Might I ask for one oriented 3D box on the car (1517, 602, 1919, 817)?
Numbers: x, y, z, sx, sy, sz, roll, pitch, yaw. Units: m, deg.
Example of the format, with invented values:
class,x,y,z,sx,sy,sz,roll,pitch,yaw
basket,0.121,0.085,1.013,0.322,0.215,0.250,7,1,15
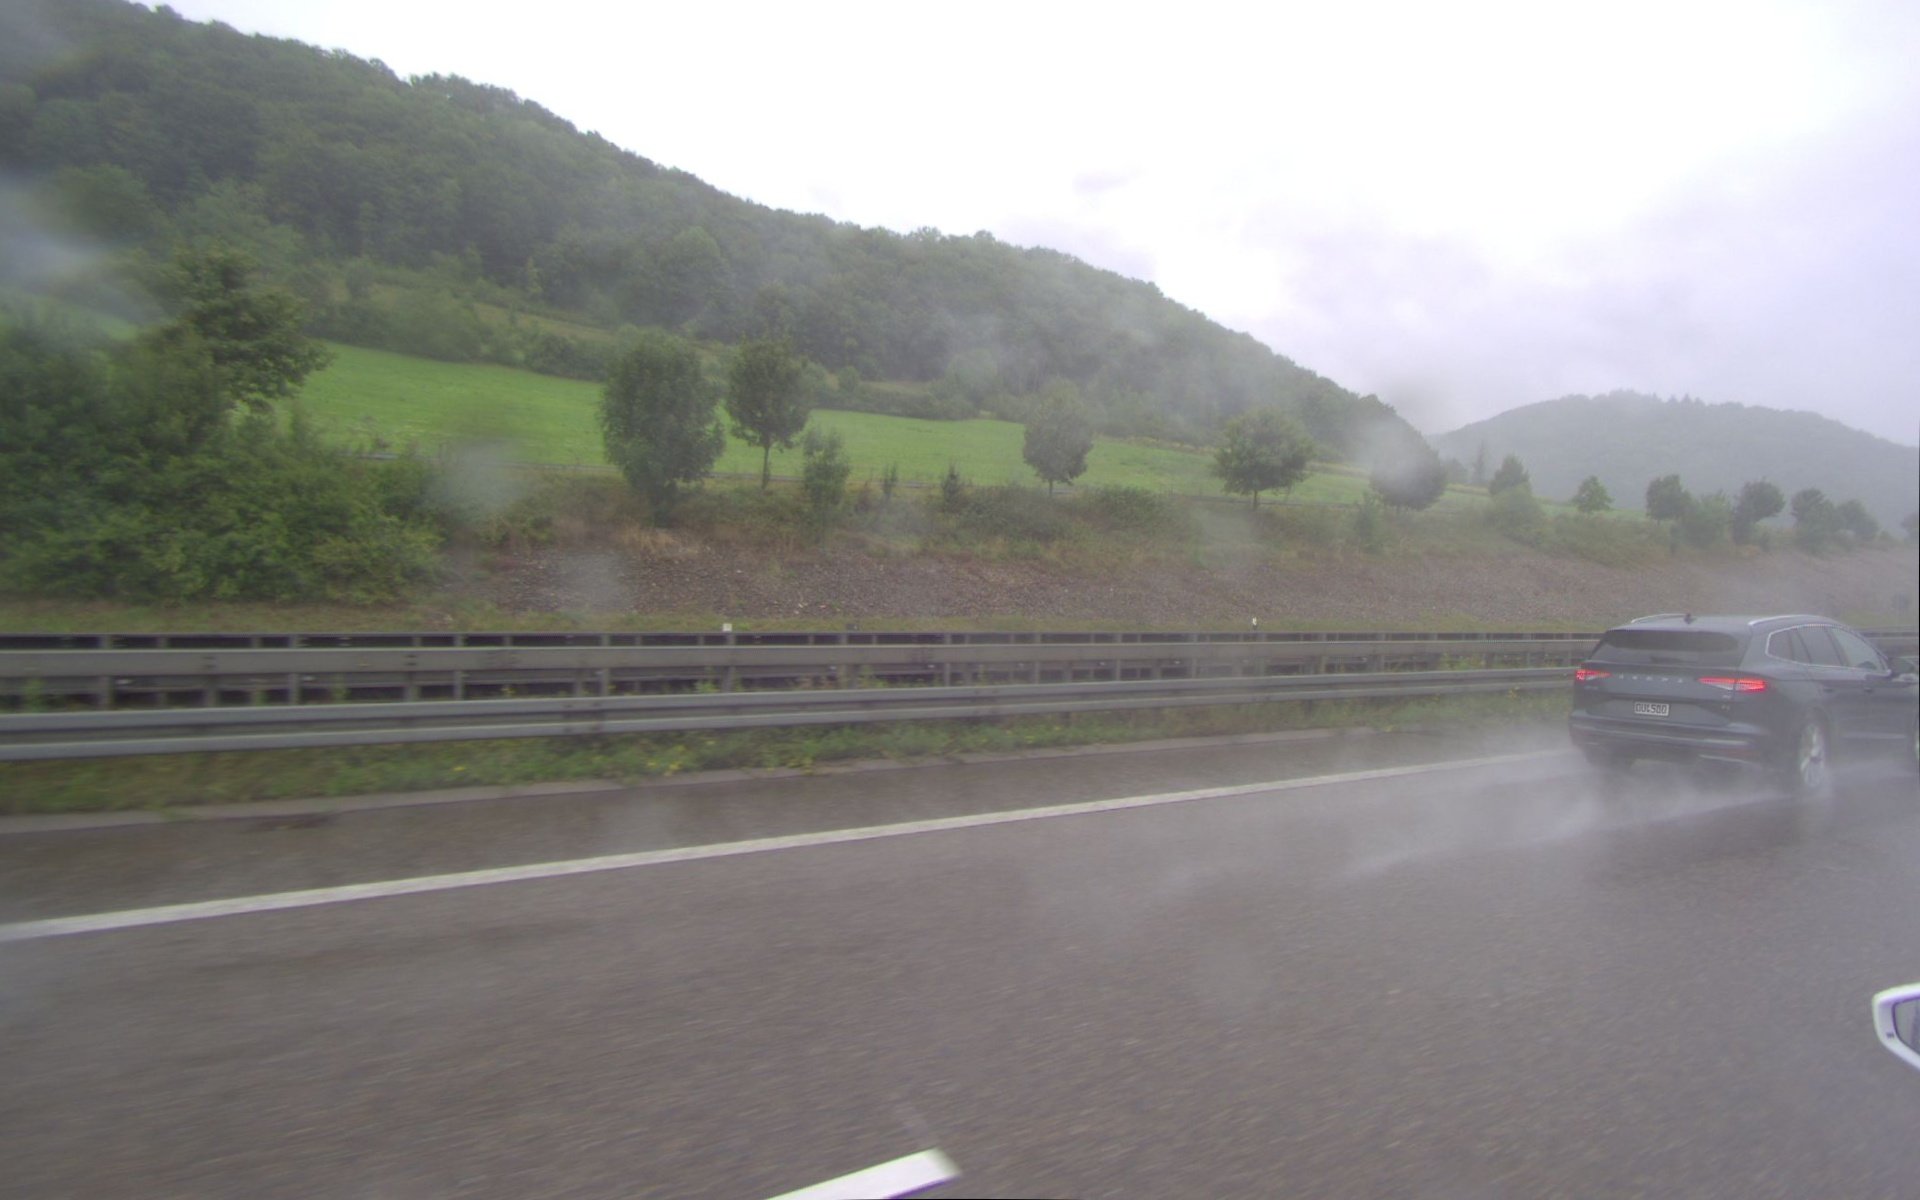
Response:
class,x,y,z,sx,sy,sz,roll,pitch,yaw
car,7.962,0.887,10.089,4.852,1.705,1.984,0,-1,-31
